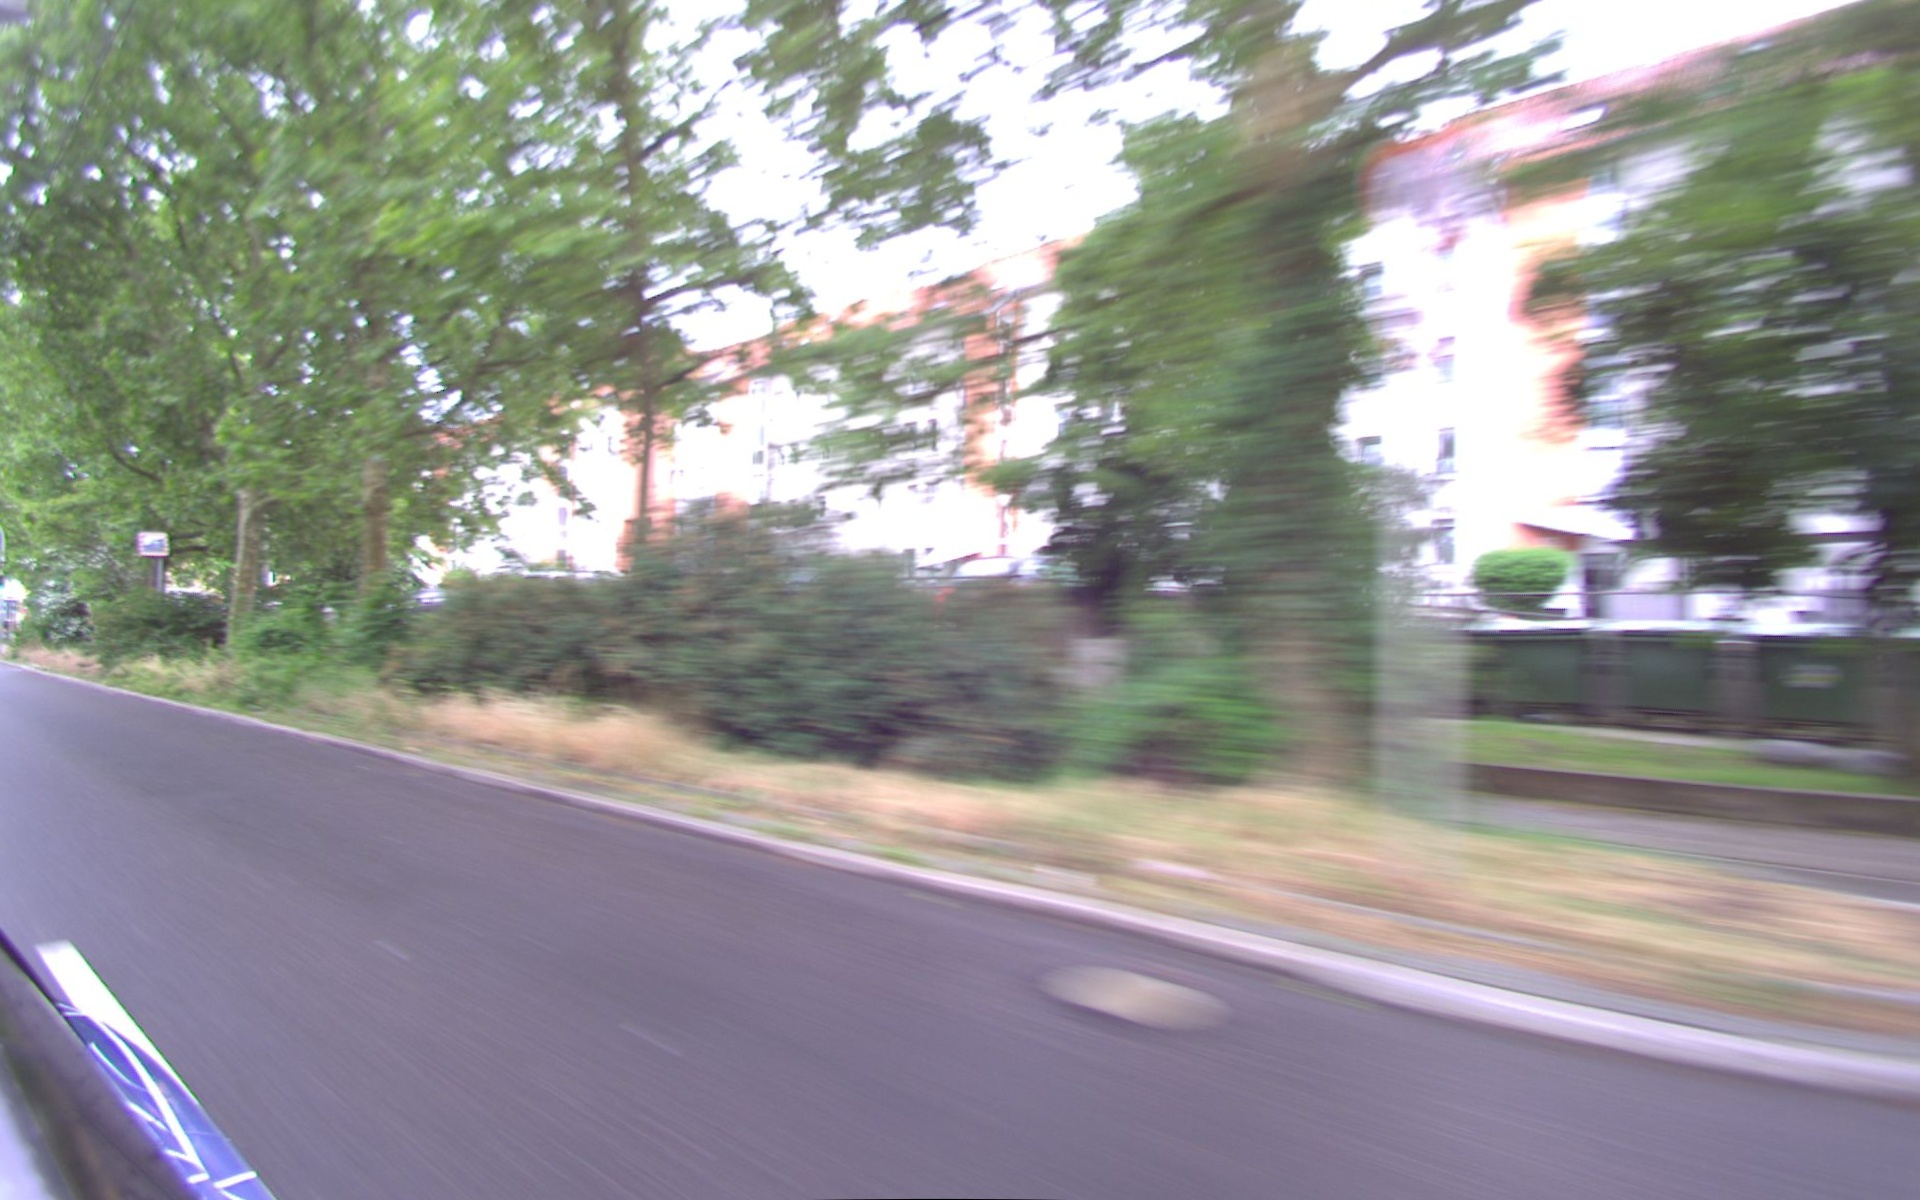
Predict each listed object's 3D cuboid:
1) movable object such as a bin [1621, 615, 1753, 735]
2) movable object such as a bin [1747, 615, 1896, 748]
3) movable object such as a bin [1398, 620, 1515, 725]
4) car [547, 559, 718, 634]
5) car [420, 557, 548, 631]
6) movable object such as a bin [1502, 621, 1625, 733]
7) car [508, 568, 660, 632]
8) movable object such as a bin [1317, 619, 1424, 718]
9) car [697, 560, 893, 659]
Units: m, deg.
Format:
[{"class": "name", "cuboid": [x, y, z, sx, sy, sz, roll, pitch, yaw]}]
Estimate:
[{"class": "movable object such as a bin", "cuboid": [9.504, 0.934, 13.235, 1.300, 1.397, 1.150, -1, 2, 40]}, {"class": "movable object such as a bin", "cuboid": [10.427, 0.943, 12.300, 1.300, 1.425, 1.150, -1, 2, 40]}, {"class": "movable object such as a bin", "cuboid": [7.414, 1.040, 15.093, 1.300, 1.397, 1.150, -1, 2, 40]}, {"class": "car", "cuboid": [-8.777, -0.021, 27.366, 1.958, 1.808, 3.945, -1, -3, 41]}, {"class": "car", "cuboid": [-14.205, -0.113, 30.137, 3.998, 2.029, 1.973, -1, -2, 41]}, {"class": "movable object such as a bin", "cuboid": [8.466, 1.035, 14.194, 1.300, 1.397, 1.150, -1, 2, 40]}, {"class": "car", "cuboid": [-10.709, 0.008, 29.038, 1.736, 1.701, 3.755, -1, 0, 38]}, {"class": "movable object such as a bin", "cuboid": [6.461, 1.041, 15.925, 1.225, 1.397, 1.150, -1, 2, 40]}, {"class": "car", "cuboid": [-3.669, 0.284, 22.868, 3.939, 2.029, 1.958, 3, -3, -43]}]
